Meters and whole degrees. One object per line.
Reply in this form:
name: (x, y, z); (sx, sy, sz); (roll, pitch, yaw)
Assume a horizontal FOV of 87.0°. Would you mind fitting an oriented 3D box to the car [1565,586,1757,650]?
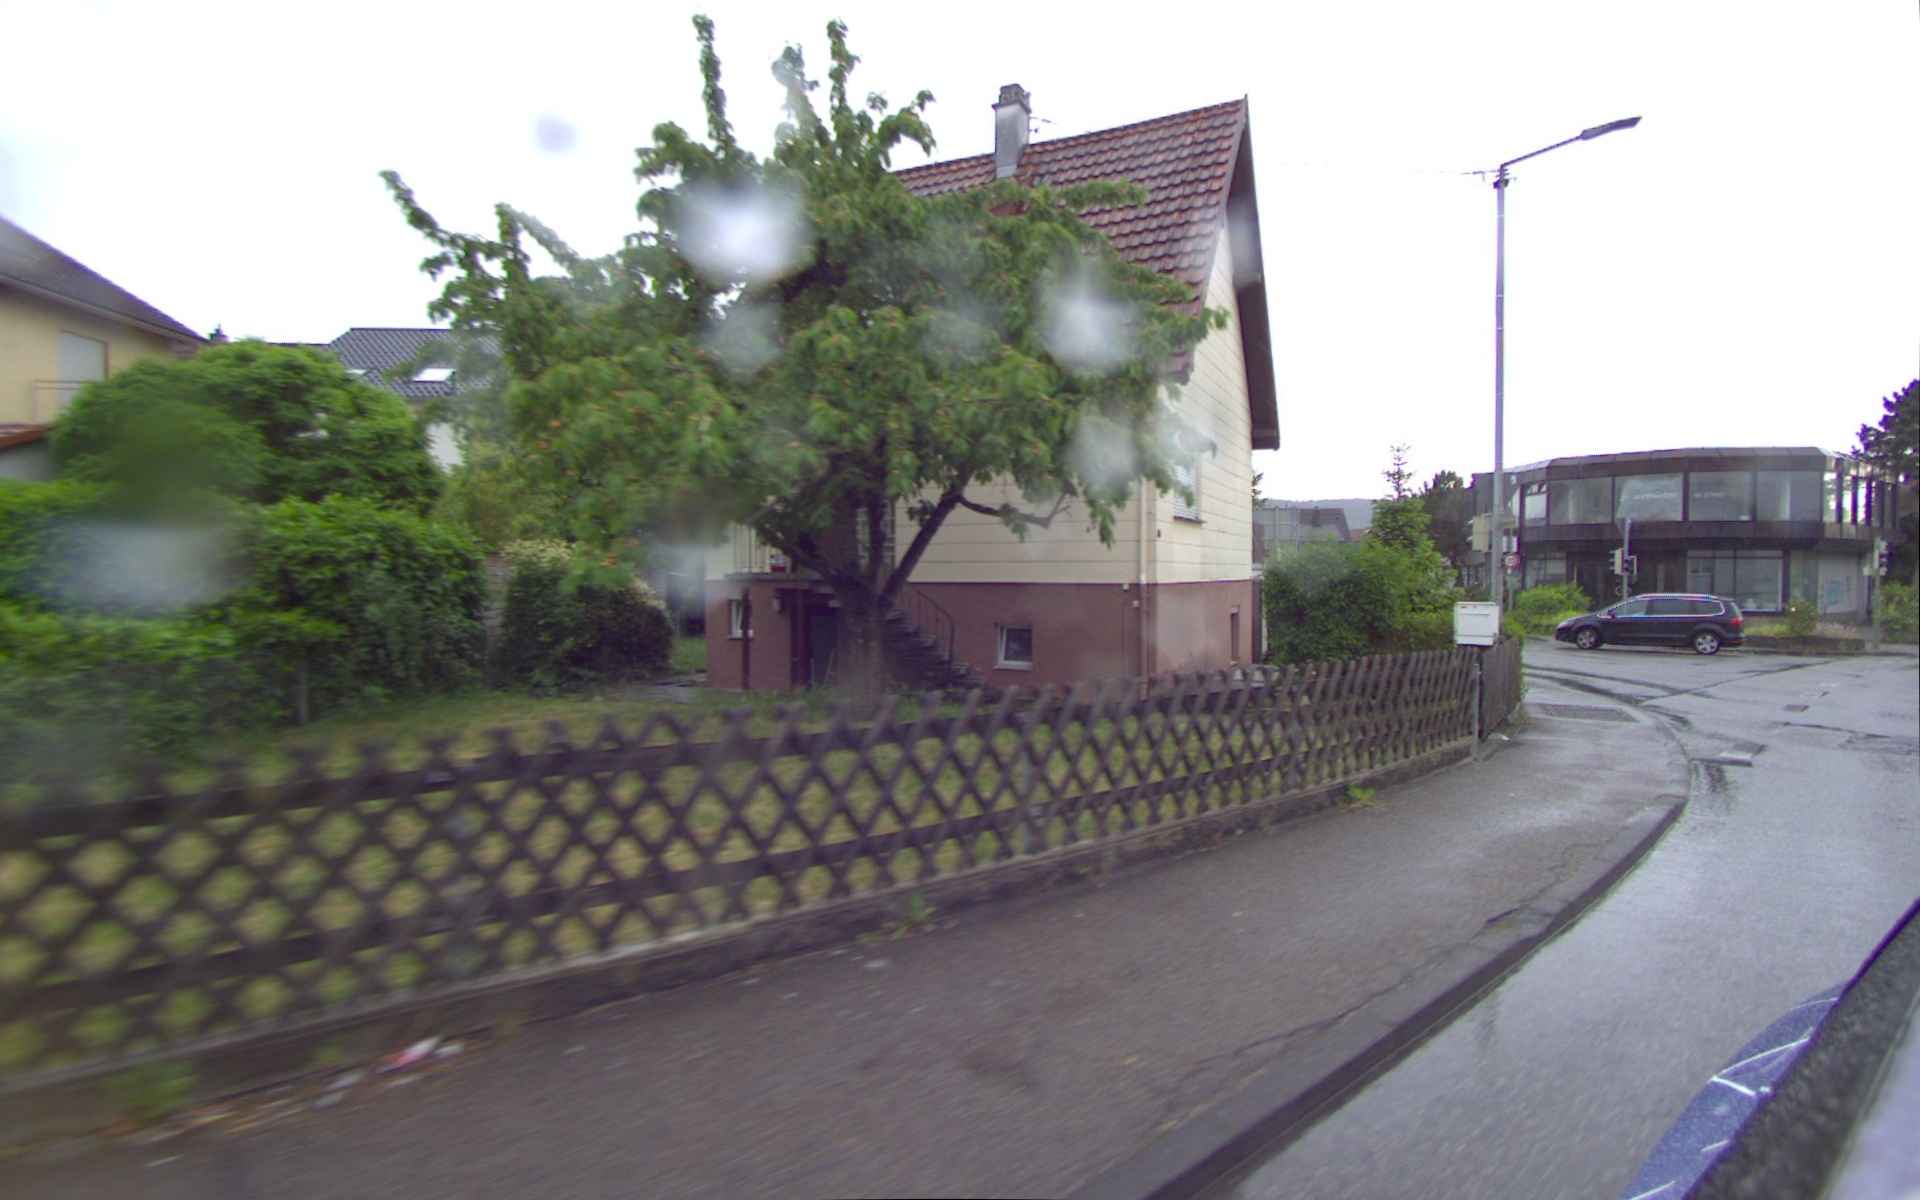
car: (20.923, 0.478, 30.359); (4.622, 1.771, 1.973); (0, 0, 38)
